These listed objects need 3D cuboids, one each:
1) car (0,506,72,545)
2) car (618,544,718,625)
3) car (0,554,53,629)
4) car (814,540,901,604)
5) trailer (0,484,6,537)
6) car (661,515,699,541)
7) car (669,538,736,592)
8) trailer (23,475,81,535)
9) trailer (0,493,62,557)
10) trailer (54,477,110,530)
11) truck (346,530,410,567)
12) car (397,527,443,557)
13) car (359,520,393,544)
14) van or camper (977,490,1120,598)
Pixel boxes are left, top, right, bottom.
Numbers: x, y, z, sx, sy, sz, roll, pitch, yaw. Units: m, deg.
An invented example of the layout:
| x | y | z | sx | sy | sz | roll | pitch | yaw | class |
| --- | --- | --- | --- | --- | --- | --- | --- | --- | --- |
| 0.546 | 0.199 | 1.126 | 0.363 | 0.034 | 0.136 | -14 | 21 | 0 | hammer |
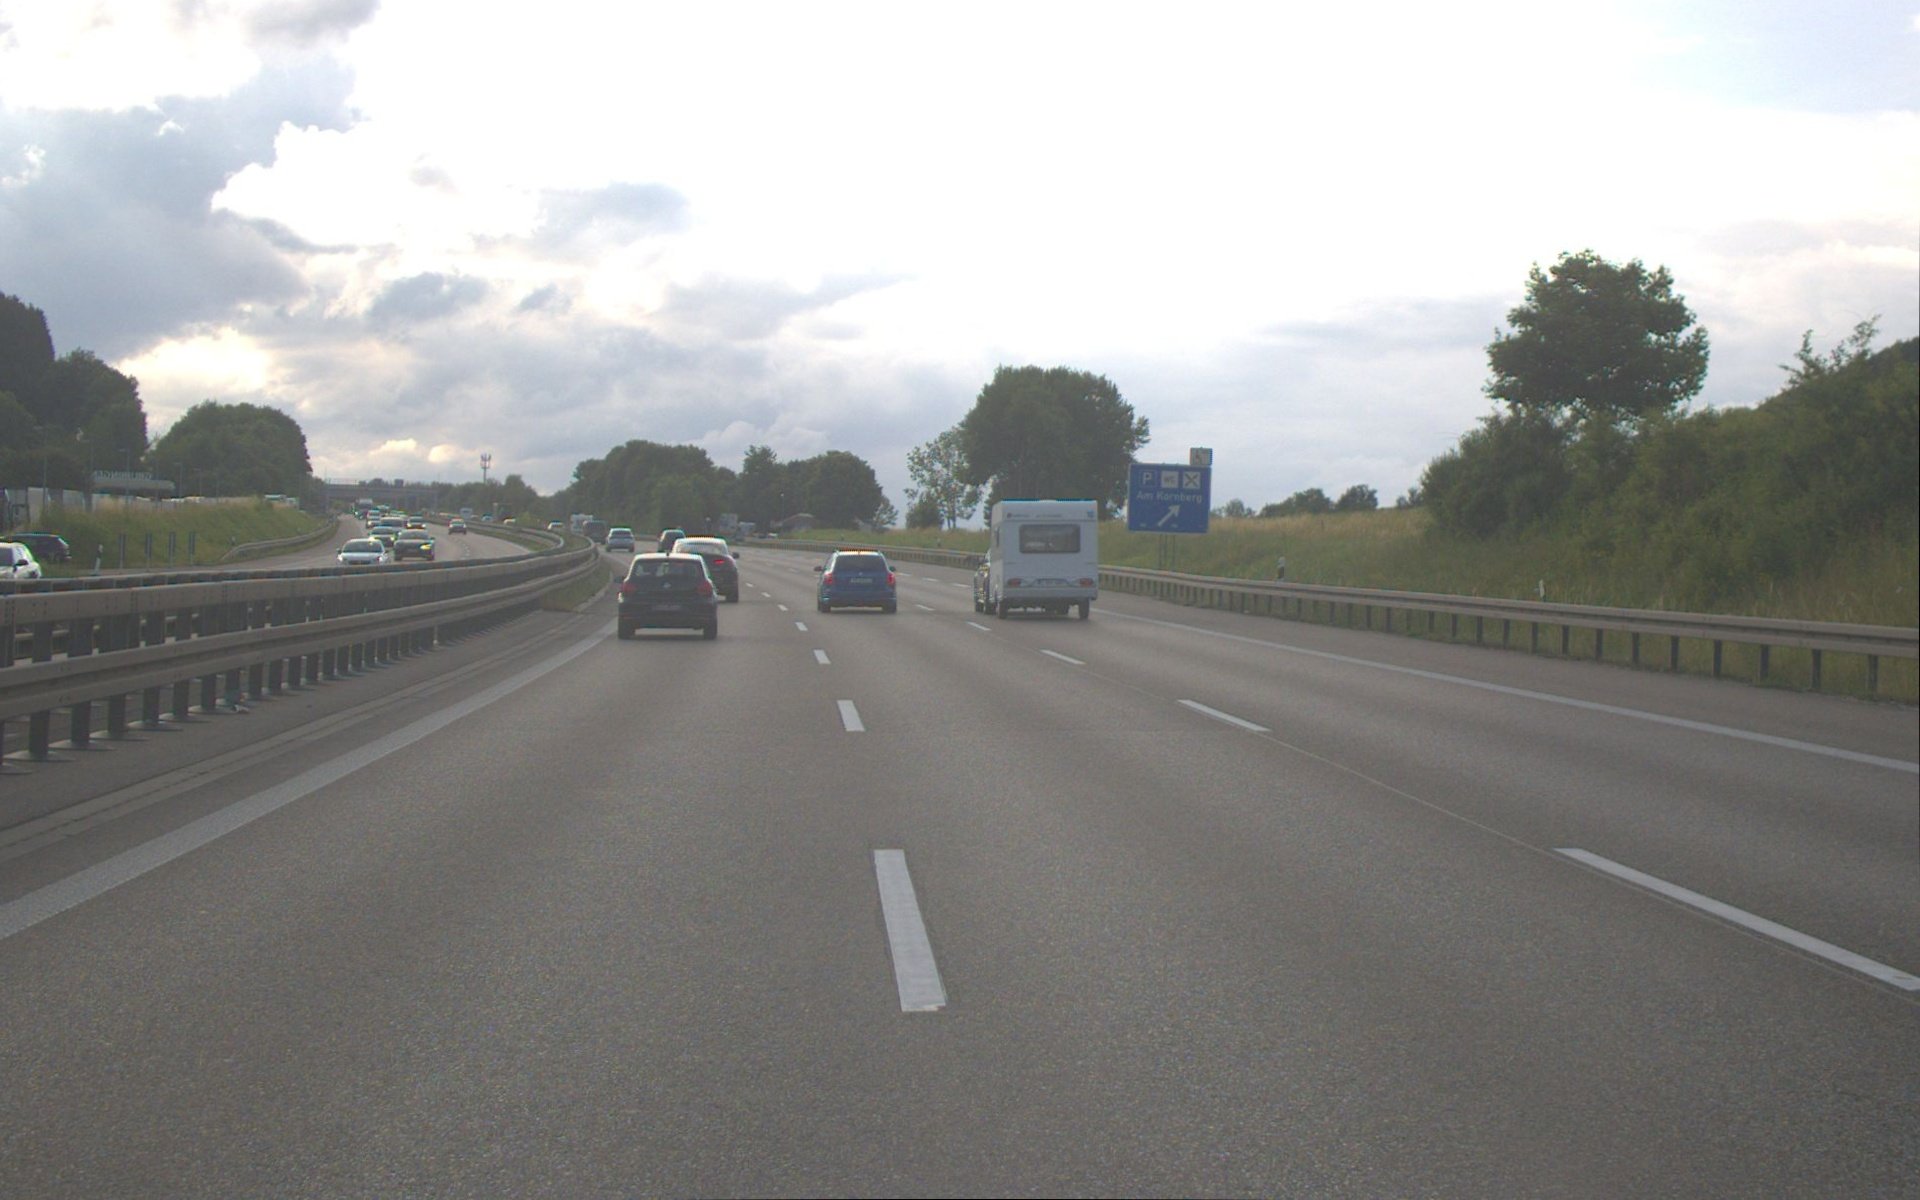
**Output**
| x | y | z | sx | sy | sz | roll | pitch | yaw | class |
| --- | --- | --- | --- | --- | --- | --- | --- | --- | --- |
| -38.392 | -3.021 | 139.329 | 4.602 | 1.546 | 2.001 | -1 | 1 | -16 | car |
| -4.974 | -0.269 | 58.922 | 1.538 | 1.343 | 3.677 | 0 | 0 | -2 | car |
| -20.822 | -0.154 | 73.077 | 1.993 | 1.481 | 4.000 | -1 | -1 | 1 | car |
| -2.423 | -0.676 | 80.219 | 1.766 | 1.428 | 4.001 | -1 | 1 | -5 | car |
| -52.468 | -4.847 | 181.330 | 2.578 | 2.844 | 12.266 | 1 | 0 | -8 | trailer |
| -18.331 | -4.715 | 225.159 | 1.957 | 1.568 | 4.000 | 1 | 0 | 2 | car |
| -6.894 | -0.947 | 91.776 | 1.565 | 1.375 | 4.001 | -1 | 1 | -7 | car |
| -60.052 | -6.234 | 227.550 | 2.876 | 3.683 | 13.680 | -1 | 1 | -11 | trailer |
| -55.876 | -4.453 | 205.465 | 2.876 | 3.683 | 13.680 | -1 | 1 | -9 | trailer |
| -63.411 | -6.953 | 248.472 | 2.876 | 3.683 | 10.376 | -1 | 2 | -9 | trailer |
| -21.686 | -1.930 | 128.238 | 1.993 | 1.360 | 4.647 | 0 | 1 | -5 | truck |
| -27.536 | -2.967 | 175.355 | 1.993 | 1.492 | 4.693 | -1 | 1 | -5 | car |
| -36.965 | -4.309 | 217.680 | 1.993 | 1.492 | 4.693 | -1 | 1 | -9 | car |
| 1.872 | -1.187 | 74.671 | 2.547 | 2.232 | 5.330 | 0 | 0 | -4 | van or camper |
